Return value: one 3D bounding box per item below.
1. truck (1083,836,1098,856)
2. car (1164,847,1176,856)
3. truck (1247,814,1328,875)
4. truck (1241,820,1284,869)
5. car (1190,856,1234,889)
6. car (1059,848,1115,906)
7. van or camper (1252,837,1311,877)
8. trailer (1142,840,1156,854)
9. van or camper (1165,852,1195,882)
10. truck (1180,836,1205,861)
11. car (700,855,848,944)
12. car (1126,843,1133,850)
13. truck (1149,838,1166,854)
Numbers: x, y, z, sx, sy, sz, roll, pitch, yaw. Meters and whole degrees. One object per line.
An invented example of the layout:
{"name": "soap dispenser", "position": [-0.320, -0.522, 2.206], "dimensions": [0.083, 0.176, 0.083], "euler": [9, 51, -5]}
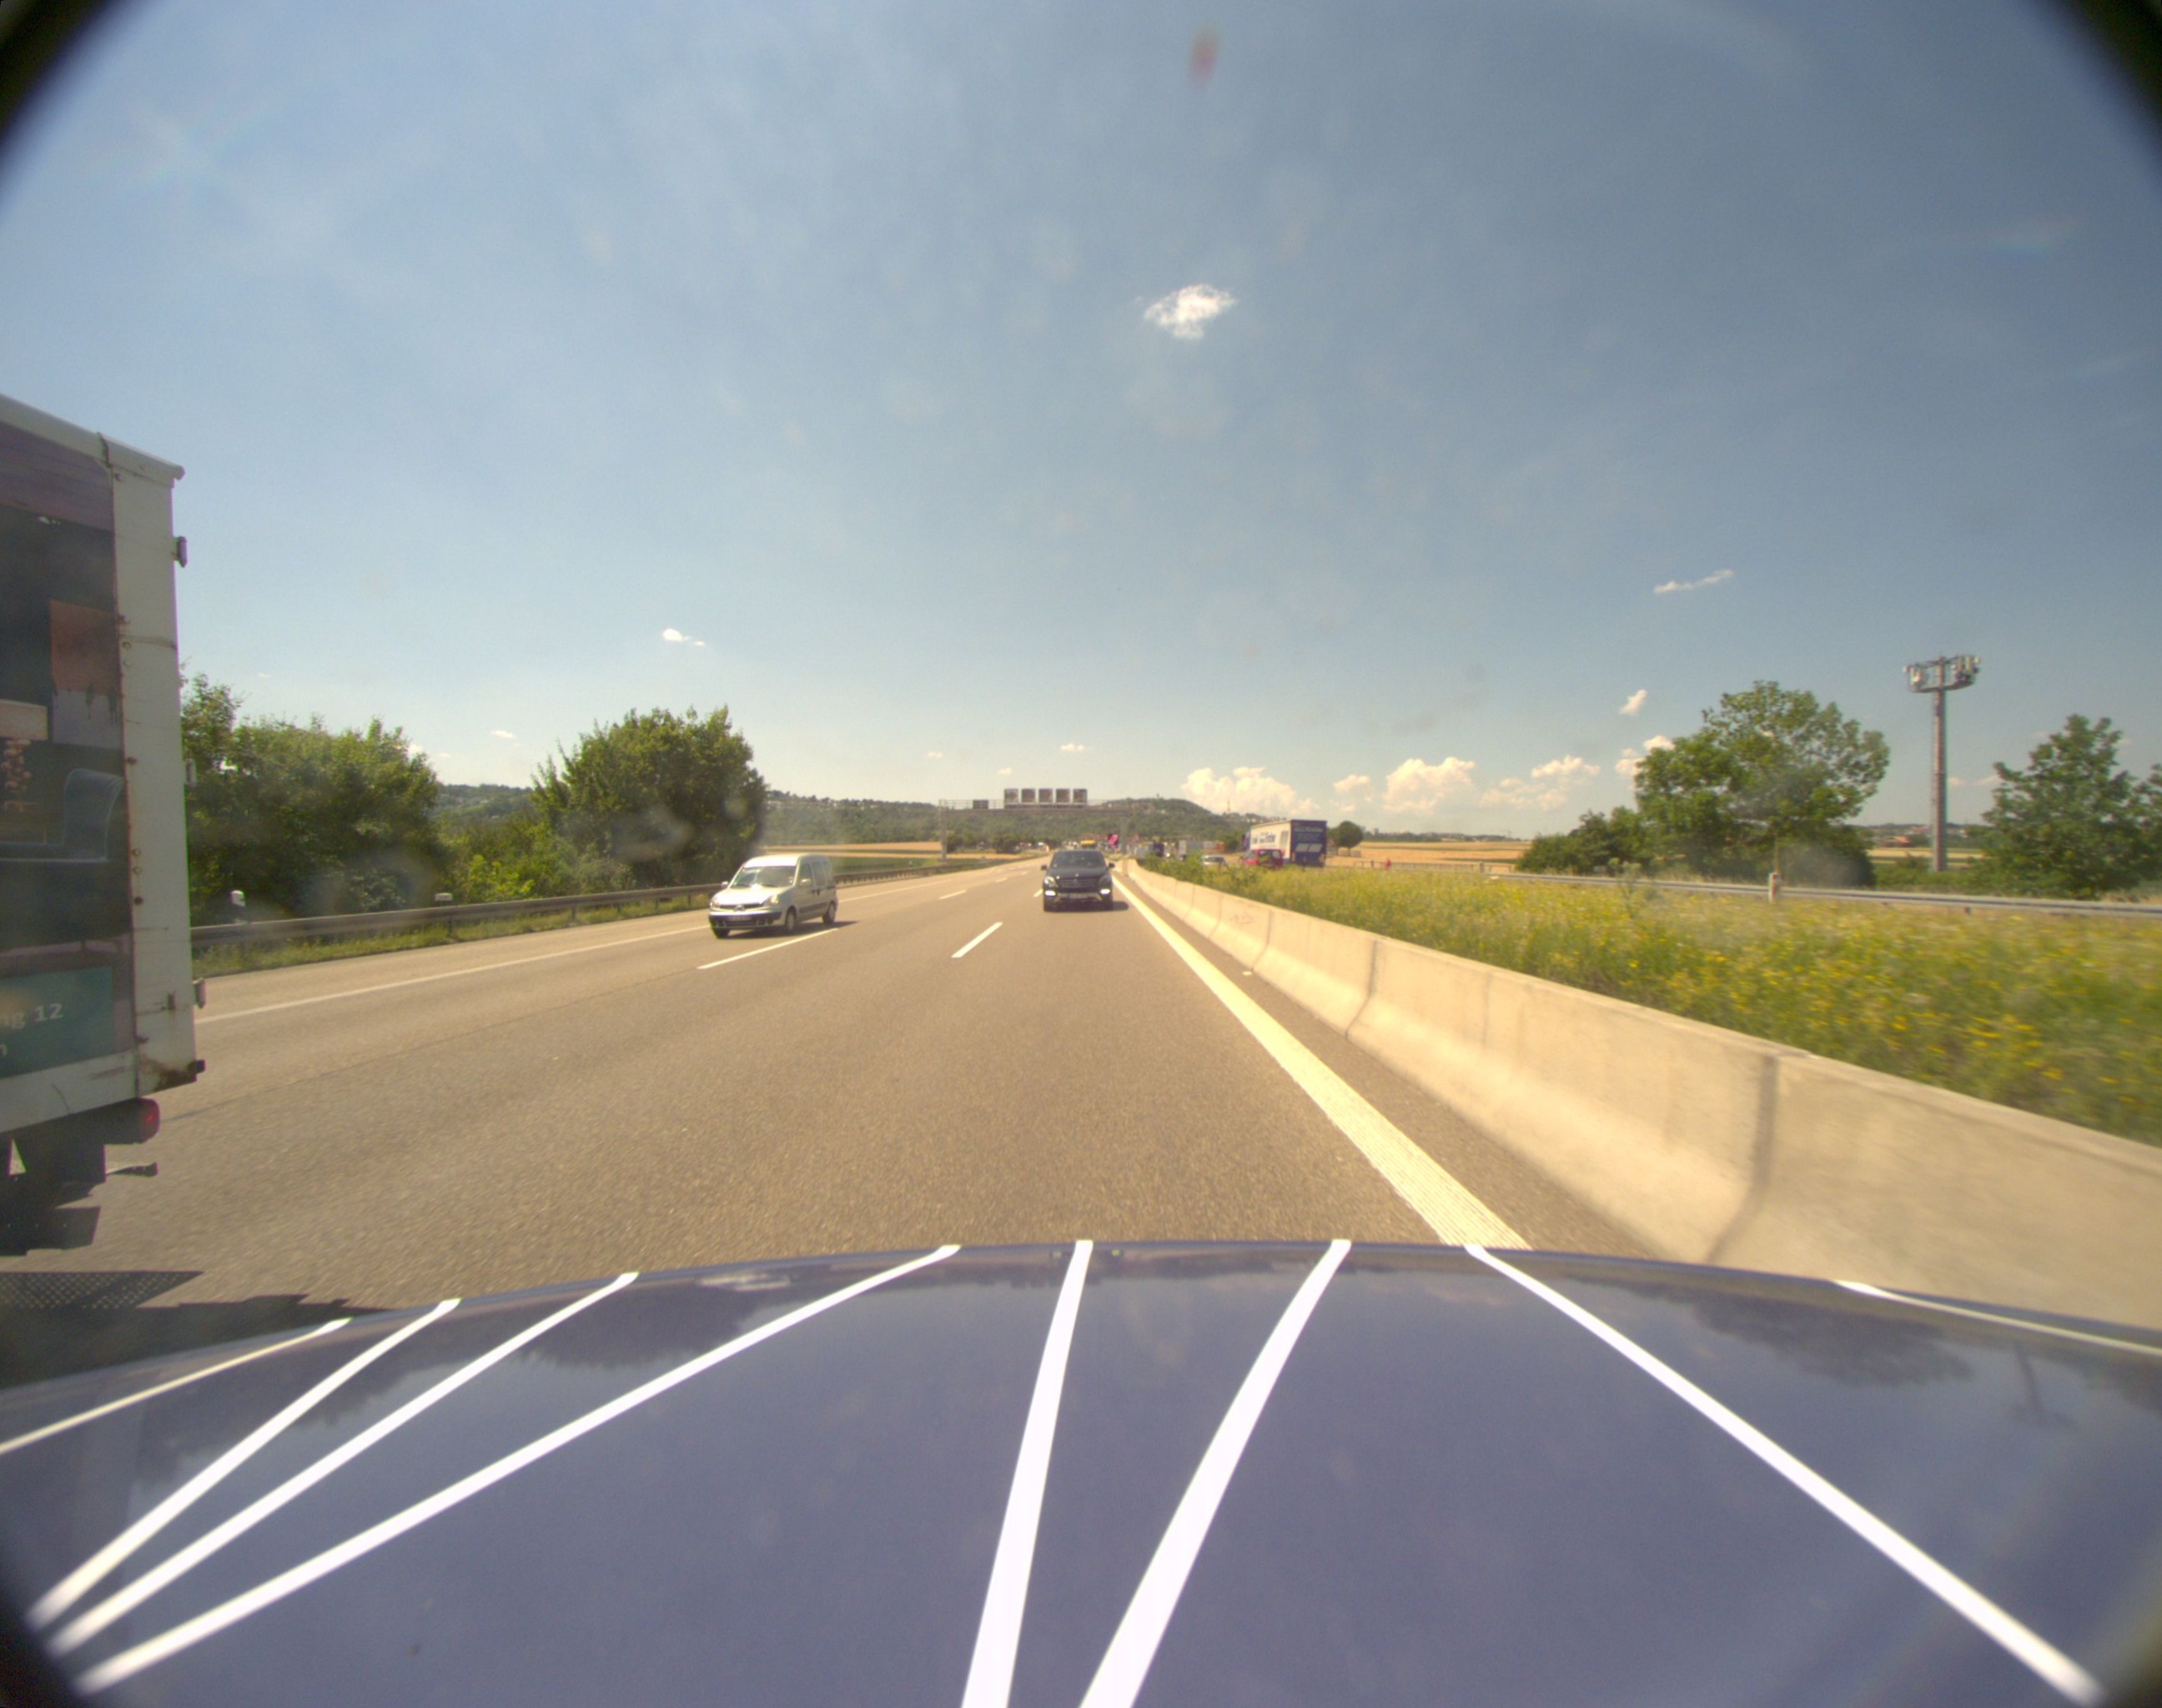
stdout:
{"name": "truck", "position": [1.600, -1.385, 128.453], "dimensions": [2.272, 3.139, 8.185], "euler": [-2, 2, 1]}
{"name": "car", "position": [17.241, -0.524, 147.017], "dimensions": [1.837, 1.709, 4.080], "euler": [1, 1, 0]}
{"name": "truck", "position": [16.169, -0.759, 60.877], "dimensions": [2.599, 4.214, 14.121], "euler": [2, 1, 1]}
{"name": "truck", "position": [16.247, -0.847, 68.211], "dimensions": [2.599, 4.214, 4.853], "euler": [2, 1, 1]}
{"name": "car", "position": [8.292, 1.111, 48.621], "dimensions": [1.998, 1.934, 4.794], "euler": [0, 1, 0]}
{"name": "car", "position": [0.229, 0.678, 24.426], "dimensions": [1.630, 1.711, 3.864], "euler": [0, 0, 1]}
{"name": "van or camper", "position": [12.013, 0.184, 45.854], "dimensions": [2.099, 2.261, 5.493], "euler": [0, 0, 0]}
{"name": "trailer", "position": [19.697, -1.984, 221.694], "dimensions": [2.817, 4.104, 14.128], "euler": [0, 0, 0]}
{"name": "van or camper", "position": [8.924, 1.105, 68.995], "dimensions": [2.153, 2.613, 4.397], "euler": [0, 1, 0]}
{"name": "truck", "position": [16.857, -0.777, 115.483], "dimensions": [2.706, 3.599, 8.787], "euler": [1, 0, 2]}
{"name": "car", "position": [-6.853, 0.933, 17.416], "dimensions": [1.630, 1.727, 3.972], "euler": [-2, 0, 1]}
{"name": "car", "position": [16.019, -2.475, 252.158], "dimensions": [2.052, 2.487, 5.811], "euler": [0, 1, 0]}
{"name": "truck", "position": [17.868, -1.769, 178.370], "dimensions": [2.983, 3.587, 9.993], "euler": [0, 0, 0]}
